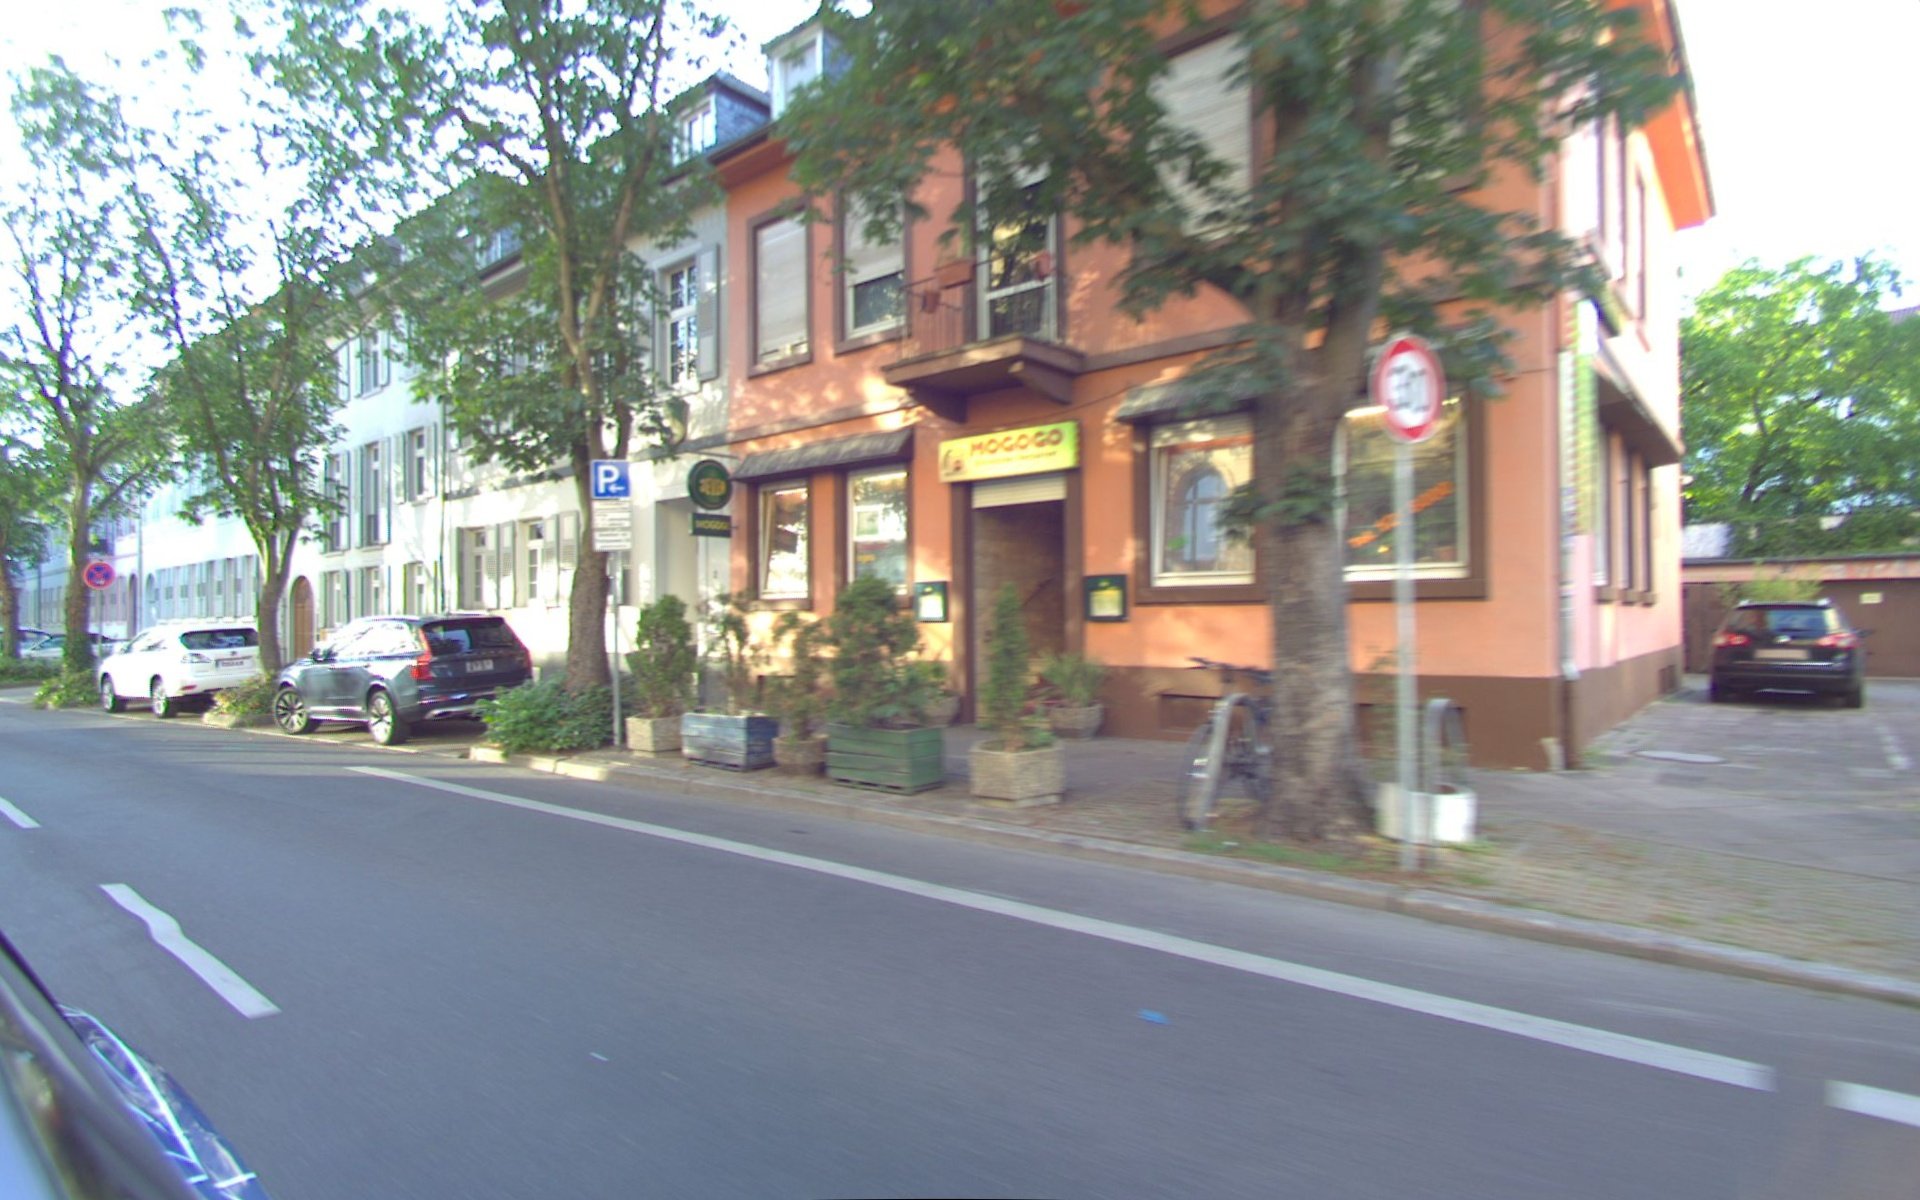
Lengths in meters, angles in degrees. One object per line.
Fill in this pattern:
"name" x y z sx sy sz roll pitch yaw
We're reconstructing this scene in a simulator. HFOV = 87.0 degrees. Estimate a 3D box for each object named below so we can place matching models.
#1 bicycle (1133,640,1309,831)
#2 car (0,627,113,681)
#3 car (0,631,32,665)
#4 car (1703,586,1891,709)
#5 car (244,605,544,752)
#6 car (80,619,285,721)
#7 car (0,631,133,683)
"bicycle" 1.891 0.866 7.141 0.609 1.112 1.851 -2 -1 34
"car" -31.534 1.805 34.205 1.798 1.703 4.179 -2 -2 38
"car" -45.260 2.221 46.095 1.798 1.519 4.179 -2 -2 38
"car" 12.273 0.636 14.993 1.884 1.567 3.763 -2 -1 38
"car" -8.565 1.059 15.145 5.036 1.772 1.813 -1 2 35
"car" -15.472 1.316 20.073 4.645 1.680 1.813 -1 2 35
"car" -29.379 1.803 32.506 1.801 1.557 4.172 -2 -2 43
